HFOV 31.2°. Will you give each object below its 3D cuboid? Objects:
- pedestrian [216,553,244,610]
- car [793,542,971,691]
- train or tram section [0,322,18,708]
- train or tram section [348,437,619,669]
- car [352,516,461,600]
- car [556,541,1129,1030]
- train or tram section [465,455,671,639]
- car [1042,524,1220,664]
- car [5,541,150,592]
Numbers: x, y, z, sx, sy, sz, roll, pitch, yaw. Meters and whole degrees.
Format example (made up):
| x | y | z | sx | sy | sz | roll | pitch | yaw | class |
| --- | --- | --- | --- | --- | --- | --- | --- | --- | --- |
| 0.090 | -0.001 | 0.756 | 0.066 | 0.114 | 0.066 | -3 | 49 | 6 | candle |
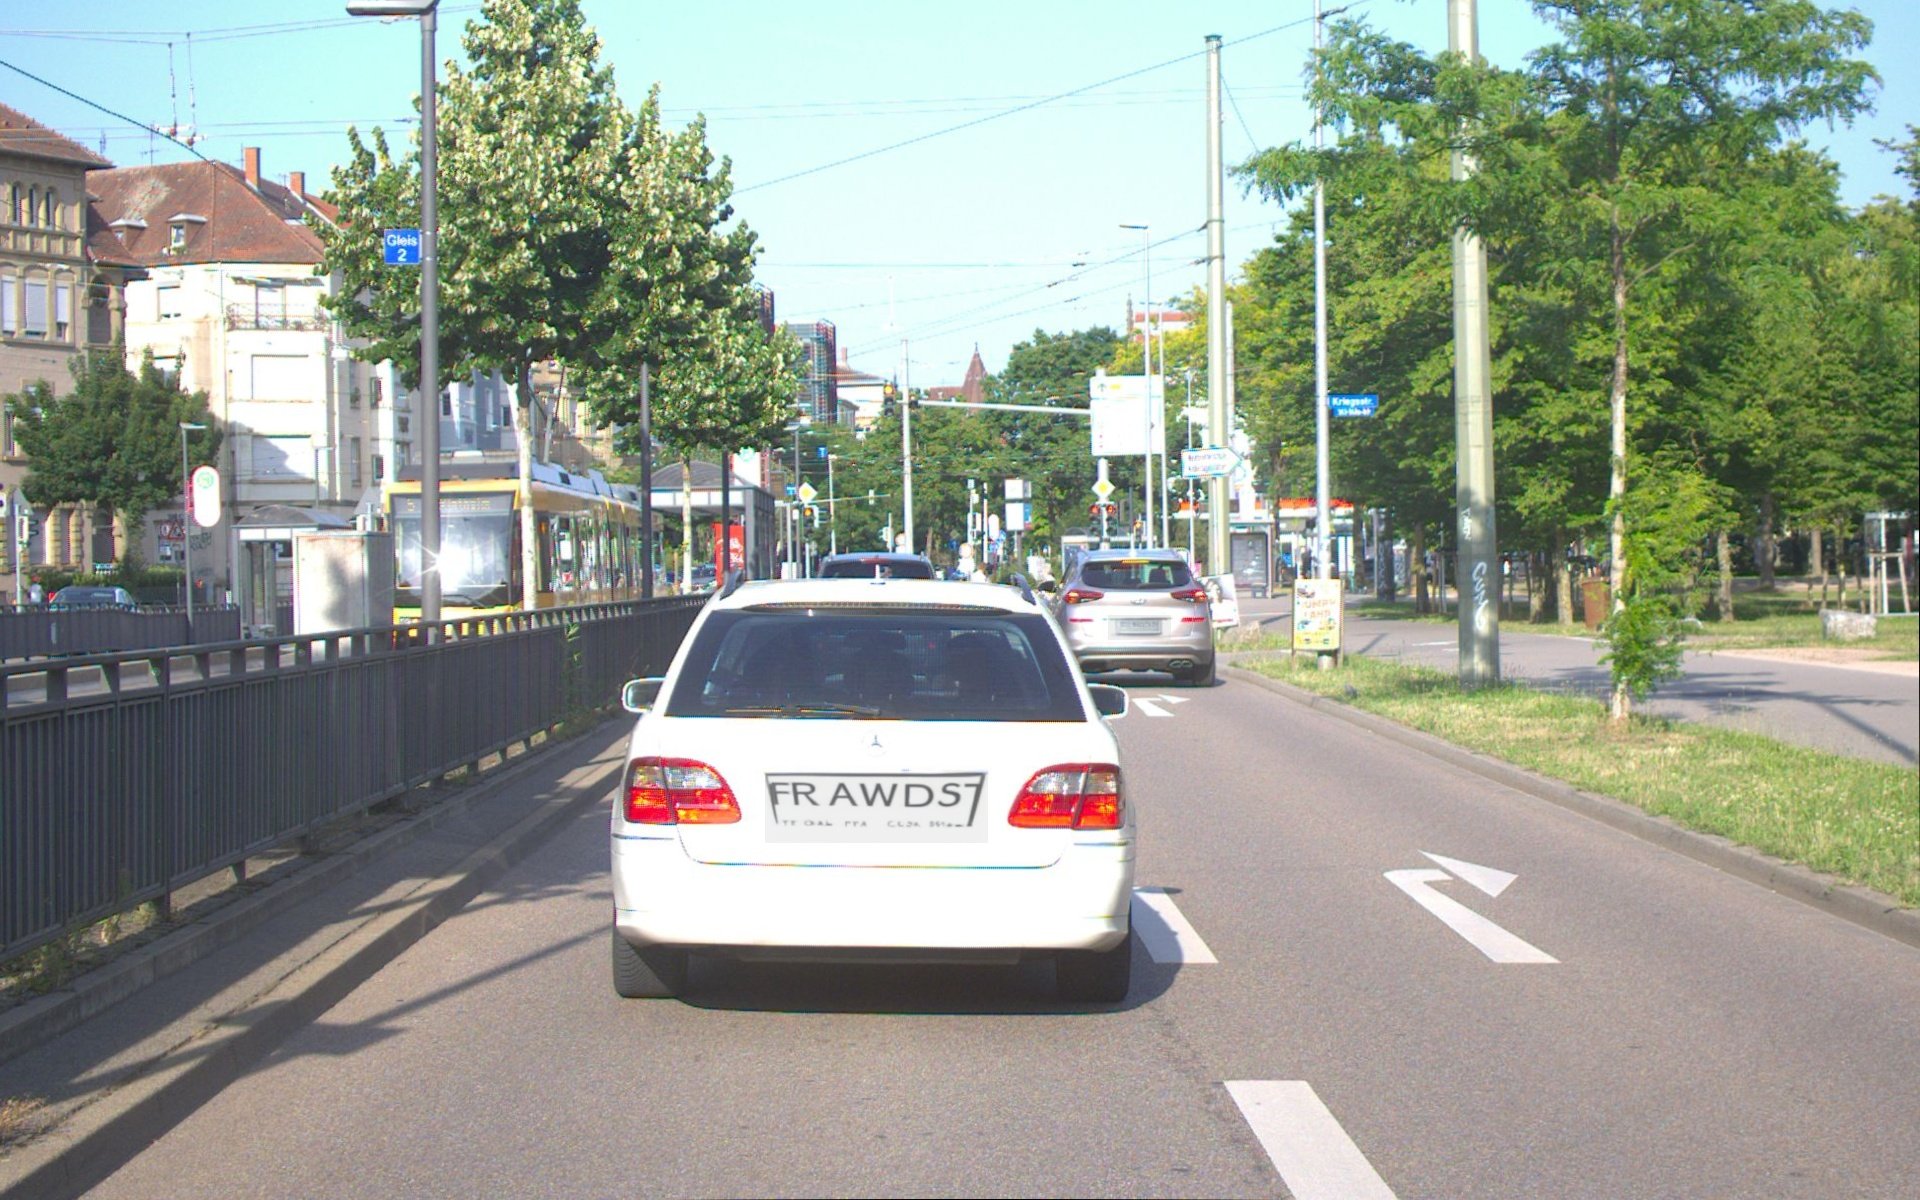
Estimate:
| x | y | z | sx | sy | sz | roll | pitch | yaw | class |
| --- | --- | --- | --- | --- | --- | --- | --- | --- | --- |
| -22.722 | -0.585 | 106.958 | 0.665 | 1.747 | 0.746 | 0 | 1 | 3 | pedestrian |
| -0.885 | 0.157 | 41.270 | 1.787 | 1.684 | 4.000 | 0 | 1 | 4 | car |
| -10.133 | -0.621 | 24.196 | 3.161 | 3.467 | 14.473 | 0 | 1 | -1 | train or tram section |
| -7.808 | -0.864 | 58.213 | 2.849 | 3.467 | 13.201 | 0 | 1 | 0 | train or tram section |
| -18.433 | -1.436 | 114.916 | 2.596 | 2.726 | 7.469 | 0 | 1 | -1 | car |
| -0.273 | 0.610 | 12.748 | 1.758 | 1.498 | 3.999 | 1 | -1 | 3 | car |
| -7.931 | -1.134 | 71.276 | 2.849 | 3.467 | 13.201 | 0 | 1 | 0 | train or tram section |
| 2.073 | -0.108 | 41.249 | 2.033 | 1.600 | 4.000 | 0 | 1 | 4 | car |
| -28.985 | -1.125 | 113.041 | 2.206 | 1.622 | 4.711 | 0 | 1 | 23 | car |
